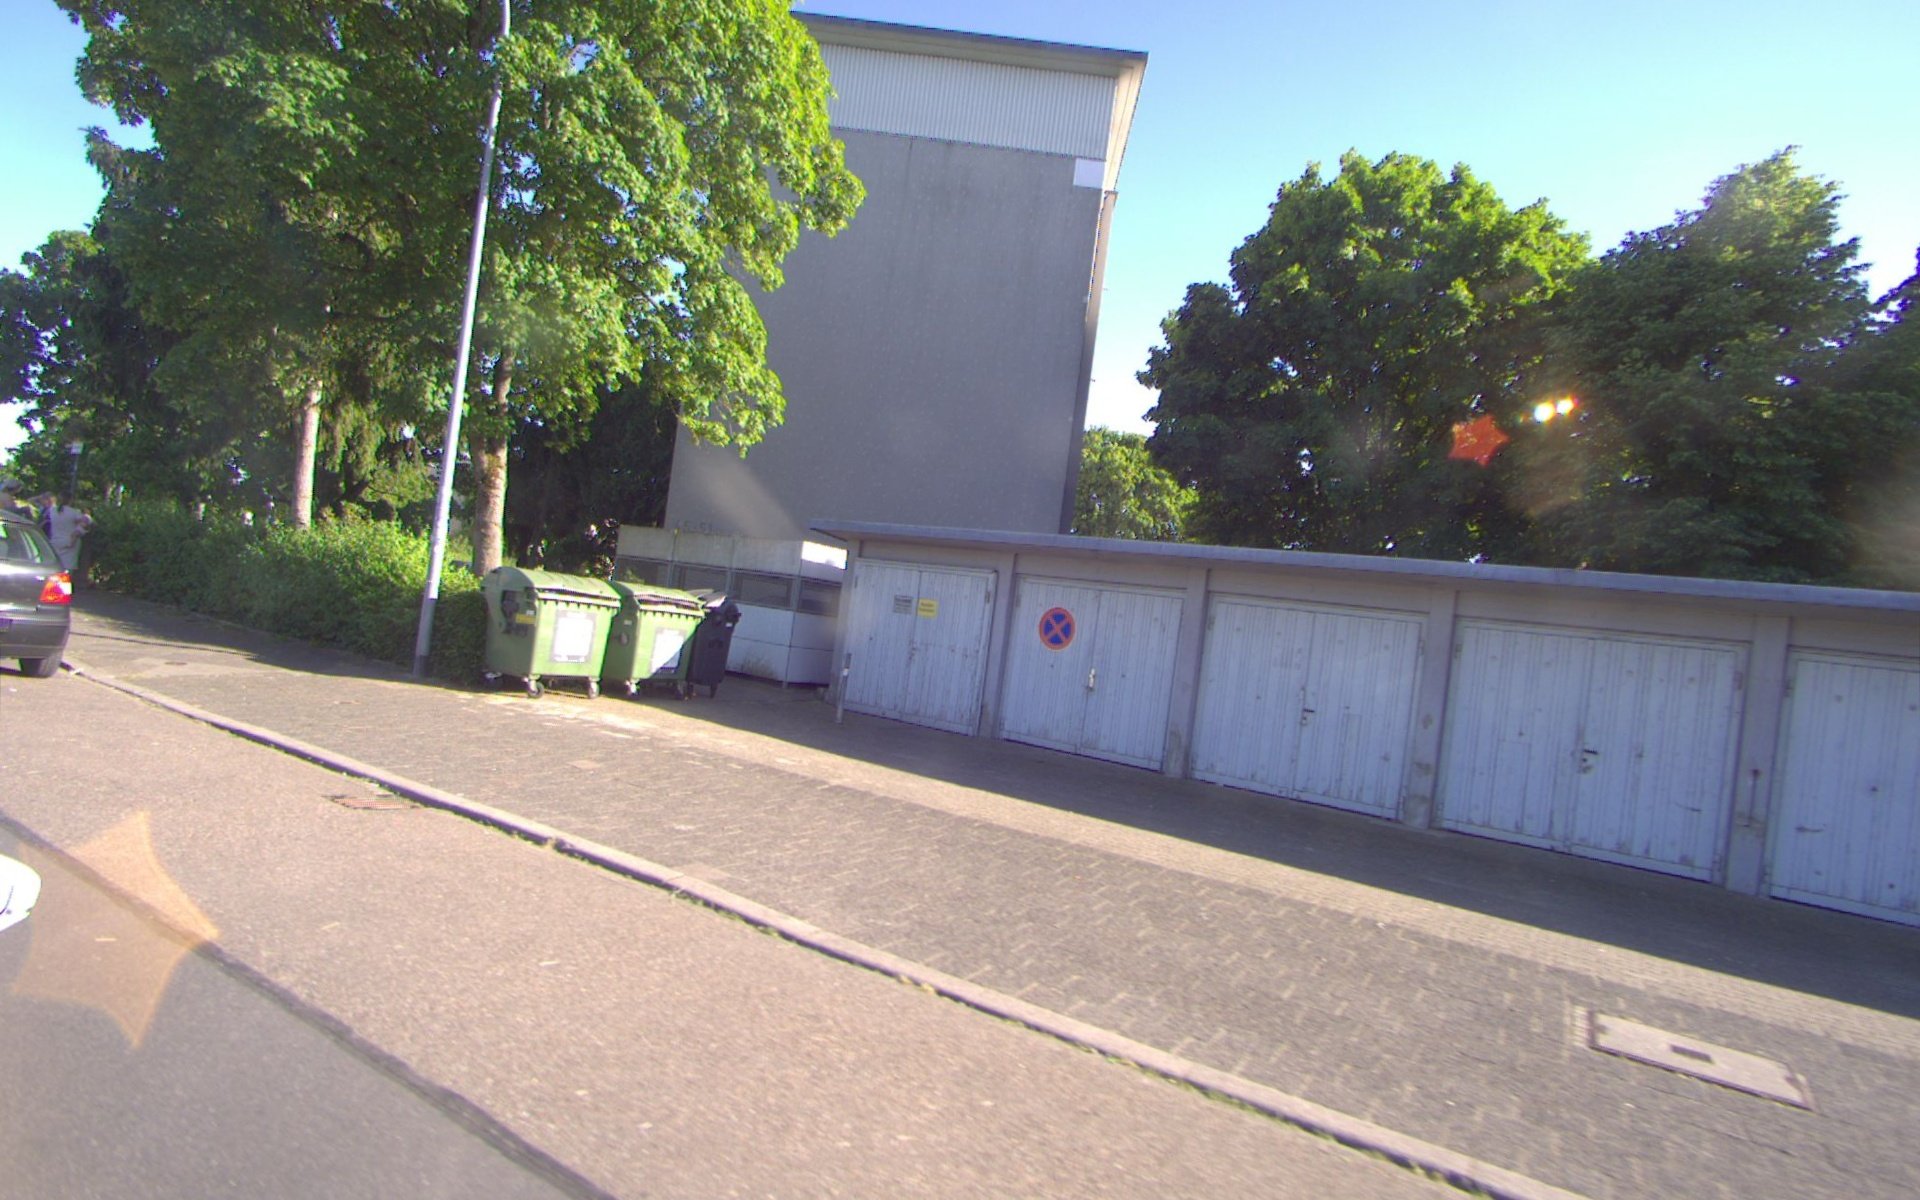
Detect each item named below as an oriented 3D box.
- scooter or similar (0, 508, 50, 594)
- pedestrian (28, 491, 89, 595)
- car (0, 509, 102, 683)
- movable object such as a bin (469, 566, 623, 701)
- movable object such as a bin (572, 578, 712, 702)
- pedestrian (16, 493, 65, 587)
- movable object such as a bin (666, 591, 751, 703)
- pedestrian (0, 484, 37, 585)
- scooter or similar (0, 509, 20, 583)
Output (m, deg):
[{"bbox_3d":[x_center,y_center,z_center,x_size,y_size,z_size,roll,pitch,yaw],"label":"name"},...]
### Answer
[{"bbox_3d":[-14.748,-0.778,15.581,0.889,1.242,0.624,6,0,29],"label":"scooter or similar"},{"bbox_3d":[-14.421,-0.907,16.093,0.460,1.584,0.486,6,0,25],"label":"pedestrian"},{"bbox_3d":[-9.660,-0.235,9.072,3.816,1.419,1.651,6,-2,30],"label":"car"},{"bbox_3d":[-4.854,0.419,11.856,0.899,1.419,1.240,6,-2,30],"label":"movable object such as a bin"},{"bbox_3d":[-4.098,0.533,13.032,0.935,1.432,1.277,6,-2,30],"label":"movable object such as a bin"},{"bbox_3d":[-15.622,-1.018,17.092,0.492,1.522,0.362,6,0,26],"label":"pedestrian"},{"bbox_3d":[-3.485,0.660,13.951,0.677,1.432,0.725,6,-1,31],"label":"movable object such as a bin"},{"bbox_3d":[-15.516,-1.075,16.426,0.588,1.584,0.481,6,0,39],"label":"pedestrian"},{"bbox_3d":[-16.879,-0.984,17.118,1.231,1.242,0.400,7,0,-2],"label":"scooter or similar"}]
